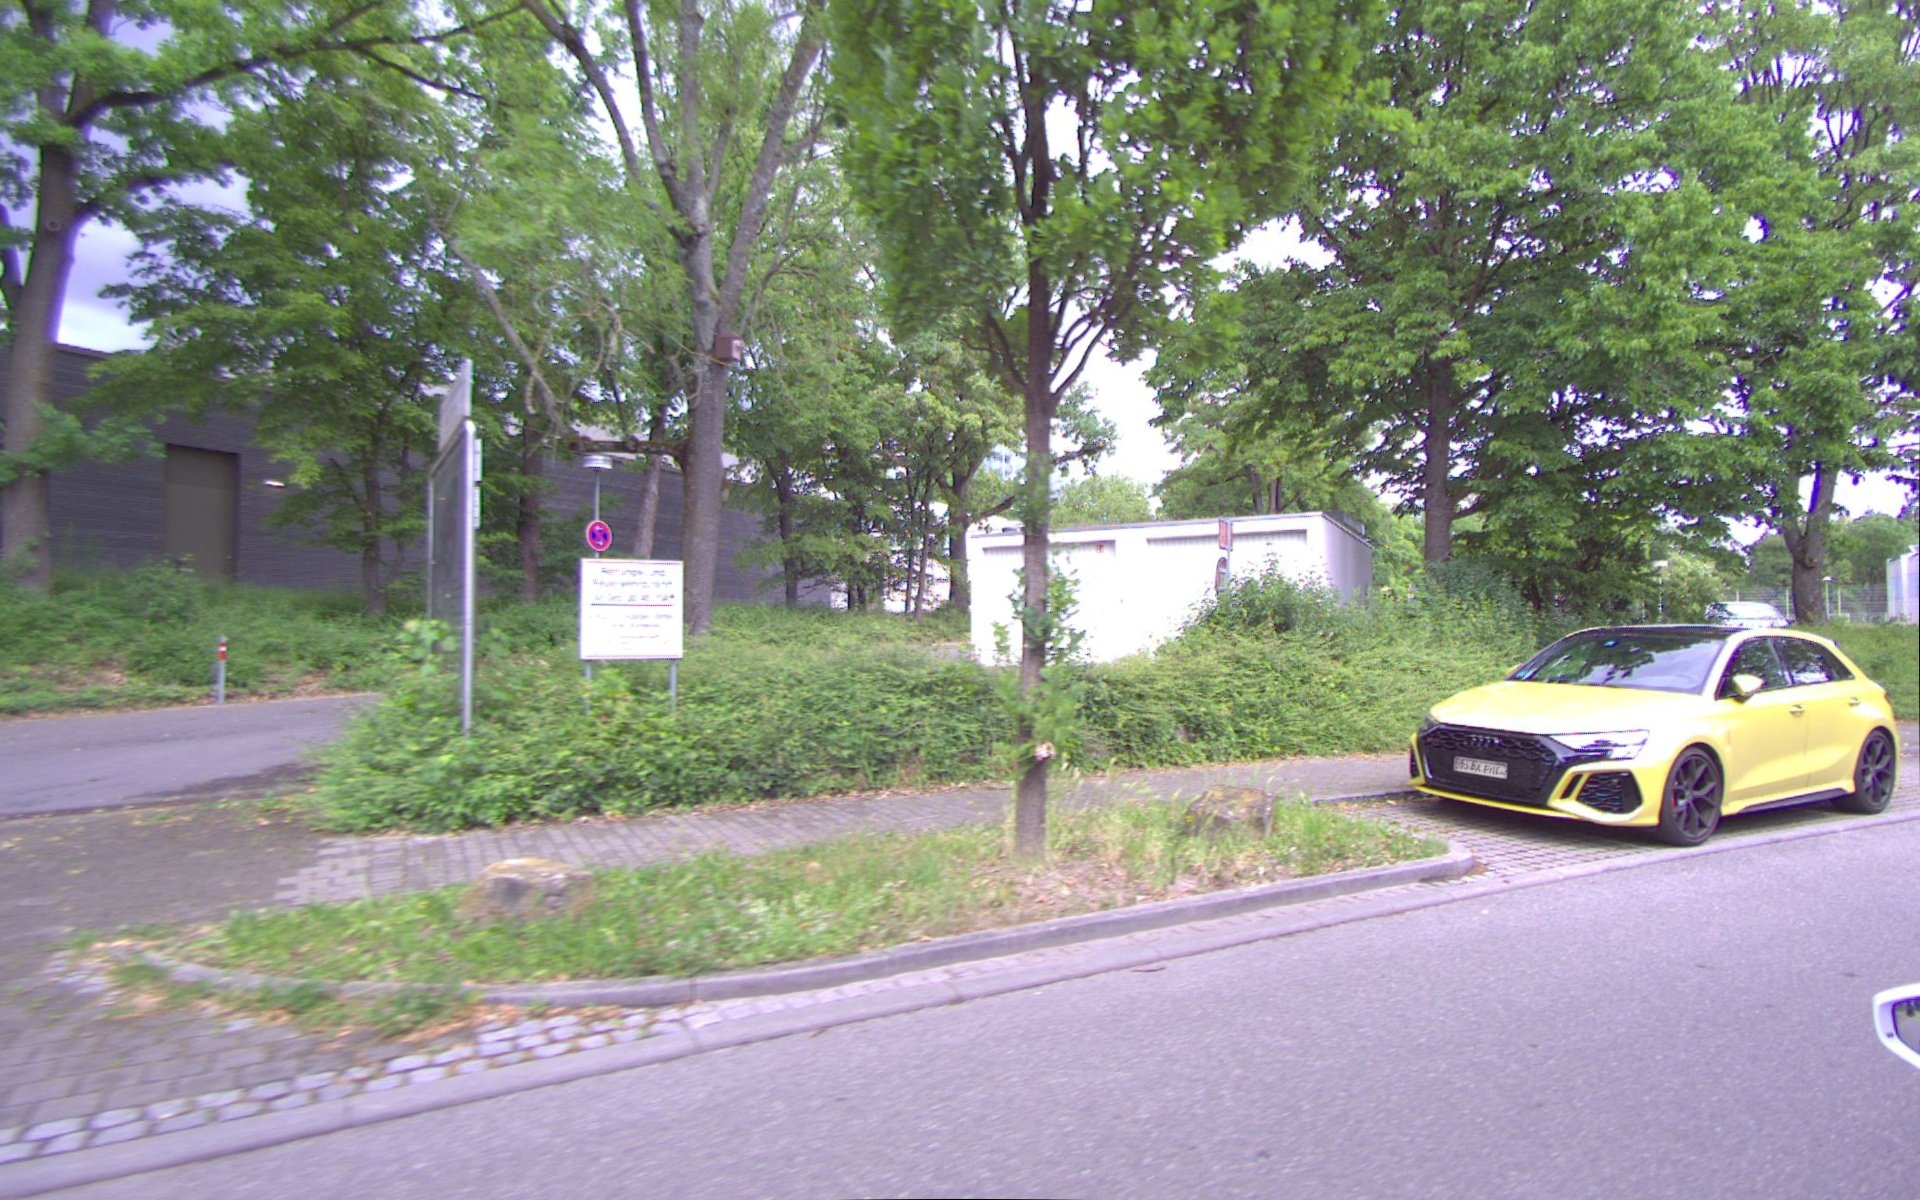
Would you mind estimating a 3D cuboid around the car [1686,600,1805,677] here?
[{"bbox_3d":[18.425,0.844,23.726,1.716,1.643,3.864,-2,-1,31],"label":"car"}]

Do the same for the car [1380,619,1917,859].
[{"bbox_3d":[5.387,0.894,7.754,4.220,1.421,1.693,2,-1,-28],"label":"car"}]
